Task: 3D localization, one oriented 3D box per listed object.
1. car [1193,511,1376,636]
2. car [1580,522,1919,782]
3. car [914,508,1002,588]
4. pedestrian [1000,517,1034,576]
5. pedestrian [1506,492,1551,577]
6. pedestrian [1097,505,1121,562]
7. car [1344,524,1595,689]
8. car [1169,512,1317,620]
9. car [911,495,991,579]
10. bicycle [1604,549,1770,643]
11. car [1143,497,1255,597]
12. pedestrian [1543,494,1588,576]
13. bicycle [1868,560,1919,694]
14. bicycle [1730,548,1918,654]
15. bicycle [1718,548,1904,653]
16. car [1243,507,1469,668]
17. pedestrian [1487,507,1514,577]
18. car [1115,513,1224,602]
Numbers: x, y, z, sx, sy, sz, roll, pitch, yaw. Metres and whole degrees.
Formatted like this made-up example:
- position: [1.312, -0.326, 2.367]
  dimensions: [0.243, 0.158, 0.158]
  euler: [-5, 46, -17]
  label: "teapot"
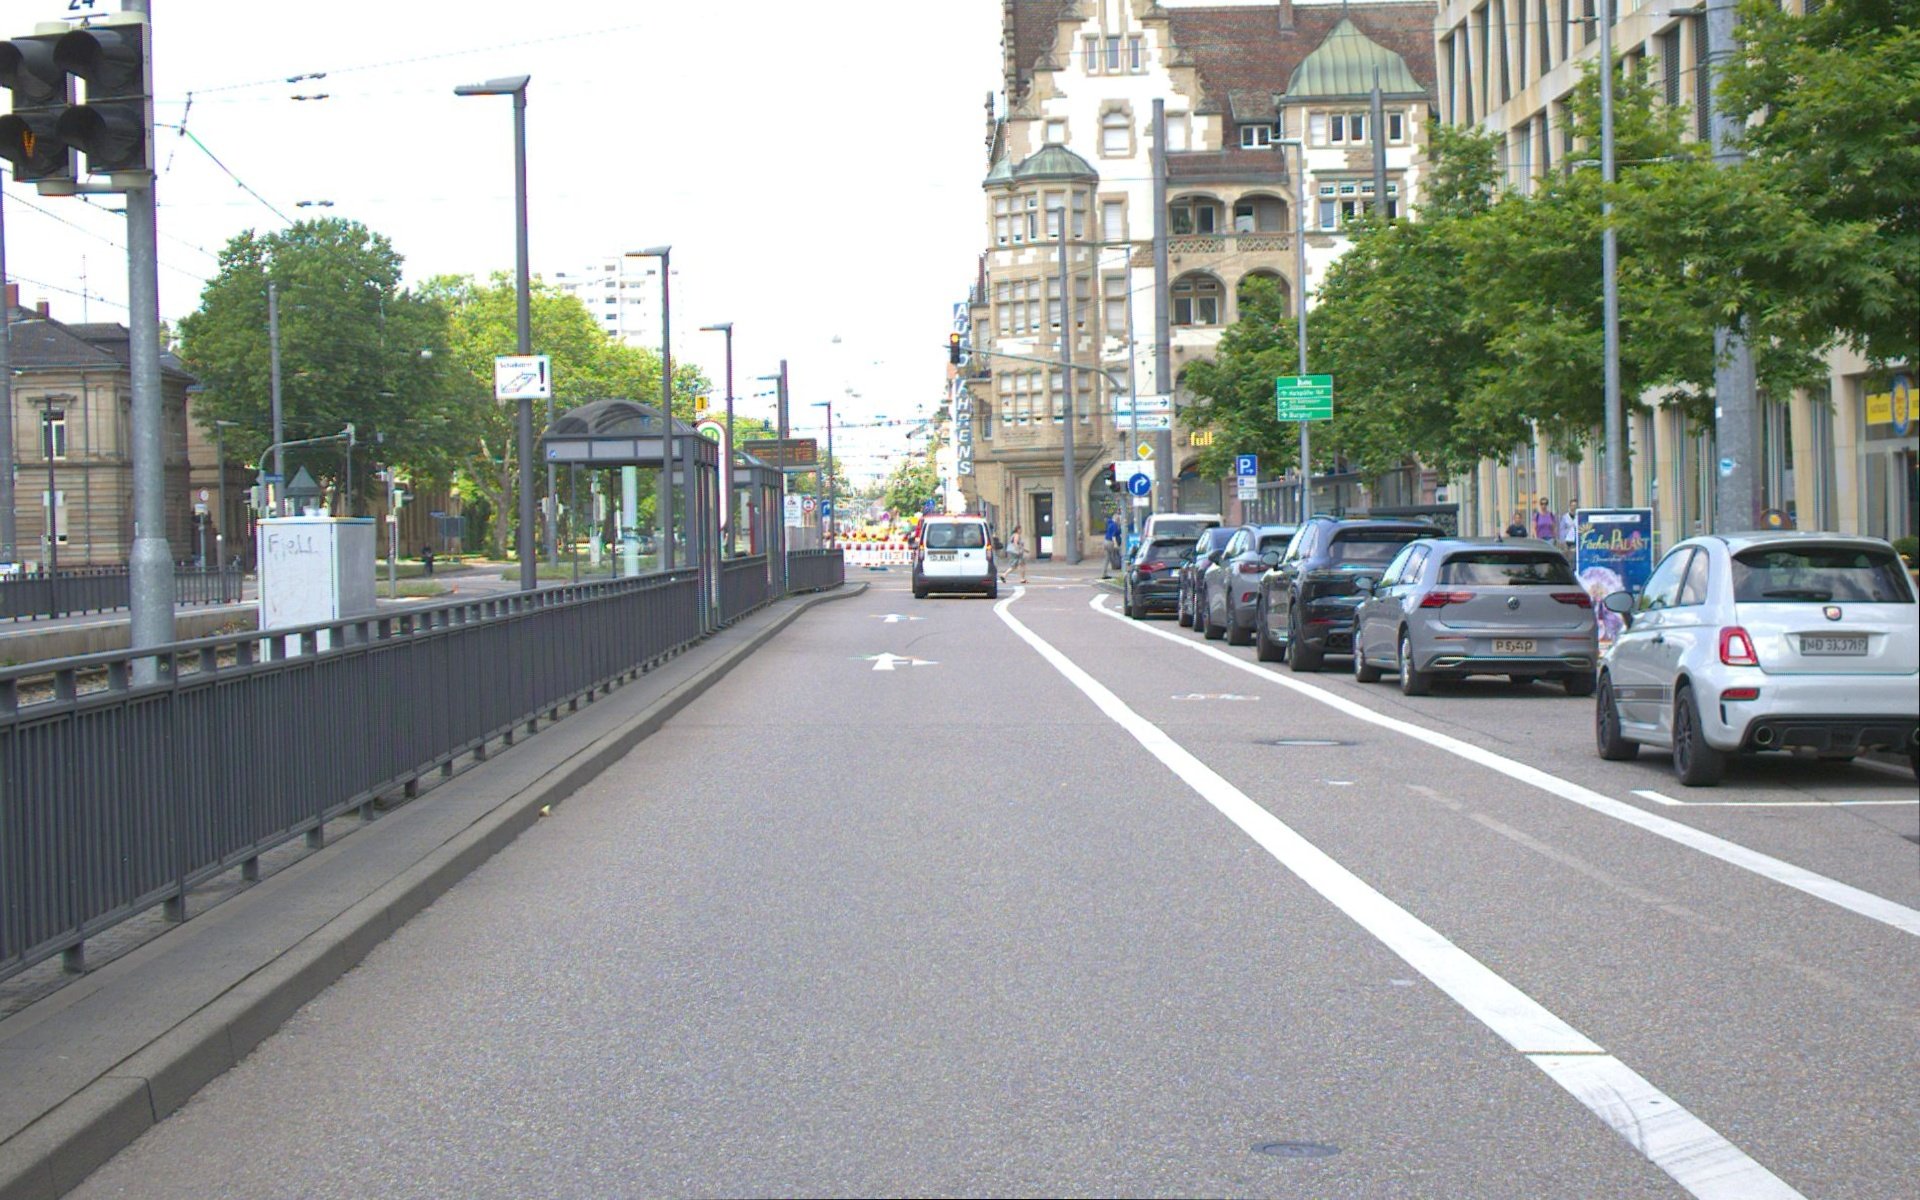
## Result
- position: [4.320, -0.403, 46.428]
  dimensions: [1.807, 1.586, 4.841]
  euler: [0, 2, -2]
  label: "car"
- position: [4.966, 0.258, 21.396]
  dimensions: [1.591, 1.455, 3.613]
  euler: [0, 2, 1]
  label: "car"
- position: [-0.067, -1.189, 76.998]
  dimensions: [1.868, 1.740, 4.000]
  euler: [0, 1, -1]
  label: "car"
- position: [1.569, -1.473, 94.319]
  dimensions: [0.805, 1.567, 0.629]
  euler: [-3, 1, -2]
  label: "pedestrian"
- position: [11.731, -1.352, 70.960]
  dimensions: [0.760, 1.717, 0.659]
  euler: [-1, 1, -1]
  label: "pedestrian"
- position: [4.152, -1.853, 95.905]
  dimensions: [0.534, 1.567, 0.542]
  euler: [-3, 1, -2]
  label: "pedestrian"
- position: [4.747, 0.017, 32.551]
  dimensions: [1.591, 1.429, 4.108]
  euler: [0, 2, -2]
  label: "car"
- position: [4.328, -0.564, 53.150]
  dimensions: [1.807, 1.586, 4.306]
  euler: [0, 2, -1]
  label: "car"
- position: [-0.235, -1.553, 83.977]
  dimensions: [1.868, 2.013, 4.000]
  euler: [0, 1, -1]
  label: "car"
- position: [8.455, -0.049, 39.994]
  dimensions: [1.824, 1.027, 0.432]
  euler: [-1, 1, 3]
  label: "bicycle"
- position: [4.418, -1.008, 63.977]
  dimensions: [1.709, 1.790, 3.362]
  euler: [0, 2, -2]
  label: "car"
- position: [12.497, -1.348, 70.978]
  dimensions: [0.760, 1.664, 0.659]
  euler: [-1, 1, -1]
  label: "pedestrian"
- position: [8.465, 0.197, 28.240]
  dimensions: [1.824, 1.072, 0.686]
  euler: [-1, 1, 3]
  label: "bicycle"
- position: [8.575, 0.005, 34.136]
  dimensions: [1.752, 0.983, 0.326]
  euler: [-2, 1, -1]
  label: "bicycle"
- position: [8.533, -0.001, 34.478]
  dimensions: [1.752, 0.983, 0.326]
  euler: [-2, 1, -1]
  label: "bicycle"
- position: [4.329, -0.196, 38.239]
  dimensions: [1.738, 1.663, 4.841]
  euler: [0, 2, -2]
  label: "car"
- position: [11.134, -1.196, 70.855]
  dimensions: [0.438, 1.443, 0.434]
  euler: [-1, 1, -1]
  label: "pedestrian"
- position: [3.574, -0.752, 59.142]
  dimensions: [1.443, 1.465, 4.093]
  euler: [0, 2, -2]
  label: "car"
